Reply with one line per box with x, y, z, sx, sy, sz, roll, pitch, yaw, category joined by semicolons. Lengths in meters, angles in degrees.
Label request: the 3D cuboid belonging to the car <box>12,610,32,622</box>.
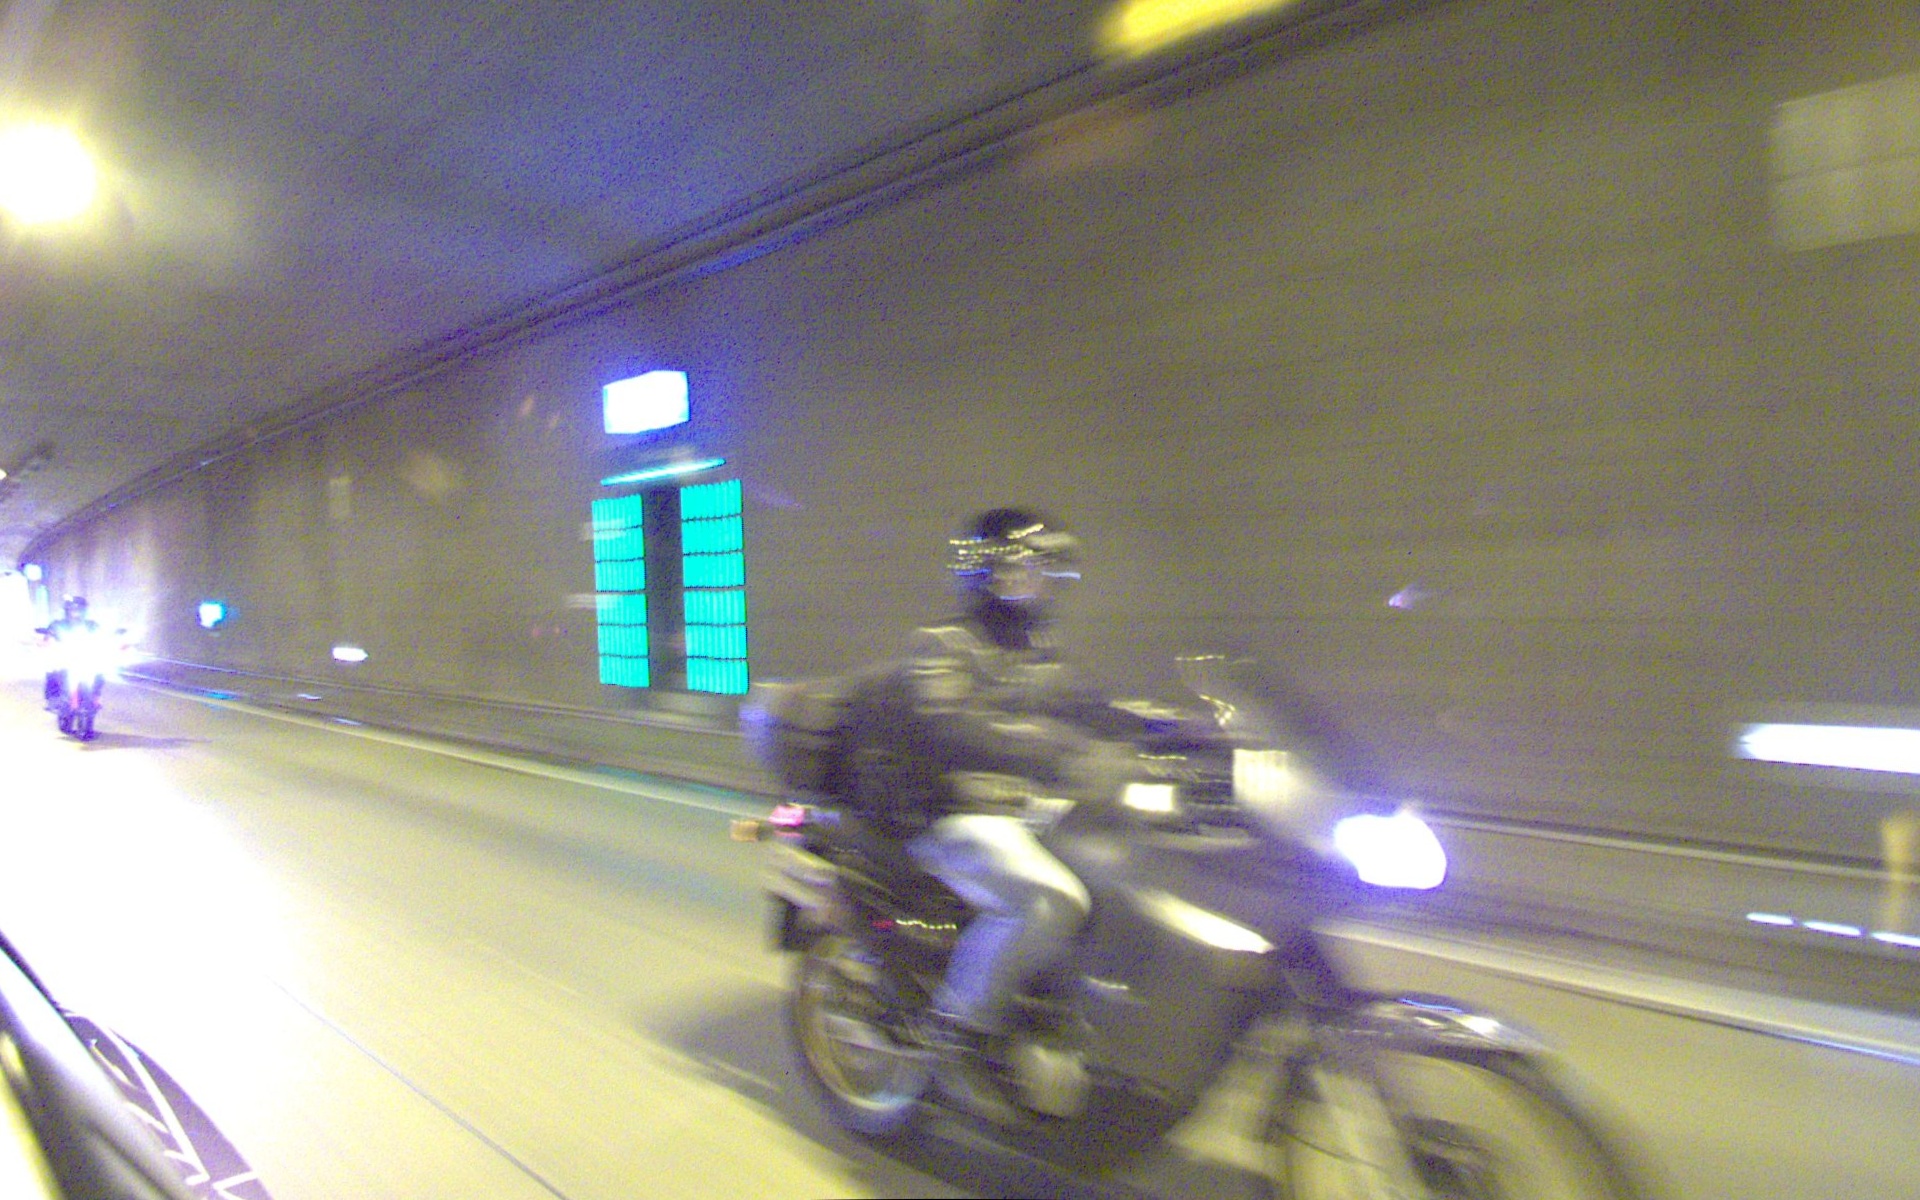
-144.937;2.505;156.438;1.968;1.812;4.007;-2;1;-39;car

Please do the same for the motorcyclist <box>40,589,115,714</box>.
-11.035;0.620;12.647;0.890;1.500;0.620;-1;-1;43;motorcyclist

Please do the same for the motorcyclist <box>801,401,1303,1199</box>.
0.221;0.398;2.361;0.821;1.488;0.830;-1;-1;42;motorcyclist

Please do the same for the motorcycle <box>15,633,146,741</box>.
-10.978;1.016;12.600;2.428;1.166;1.041;-1;-1;44;motorcycle

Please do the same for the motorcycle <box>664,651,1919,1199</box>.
0.458;0.771;2.199;2.603;1.255;0.837;-2;-1;41;motorcycle
